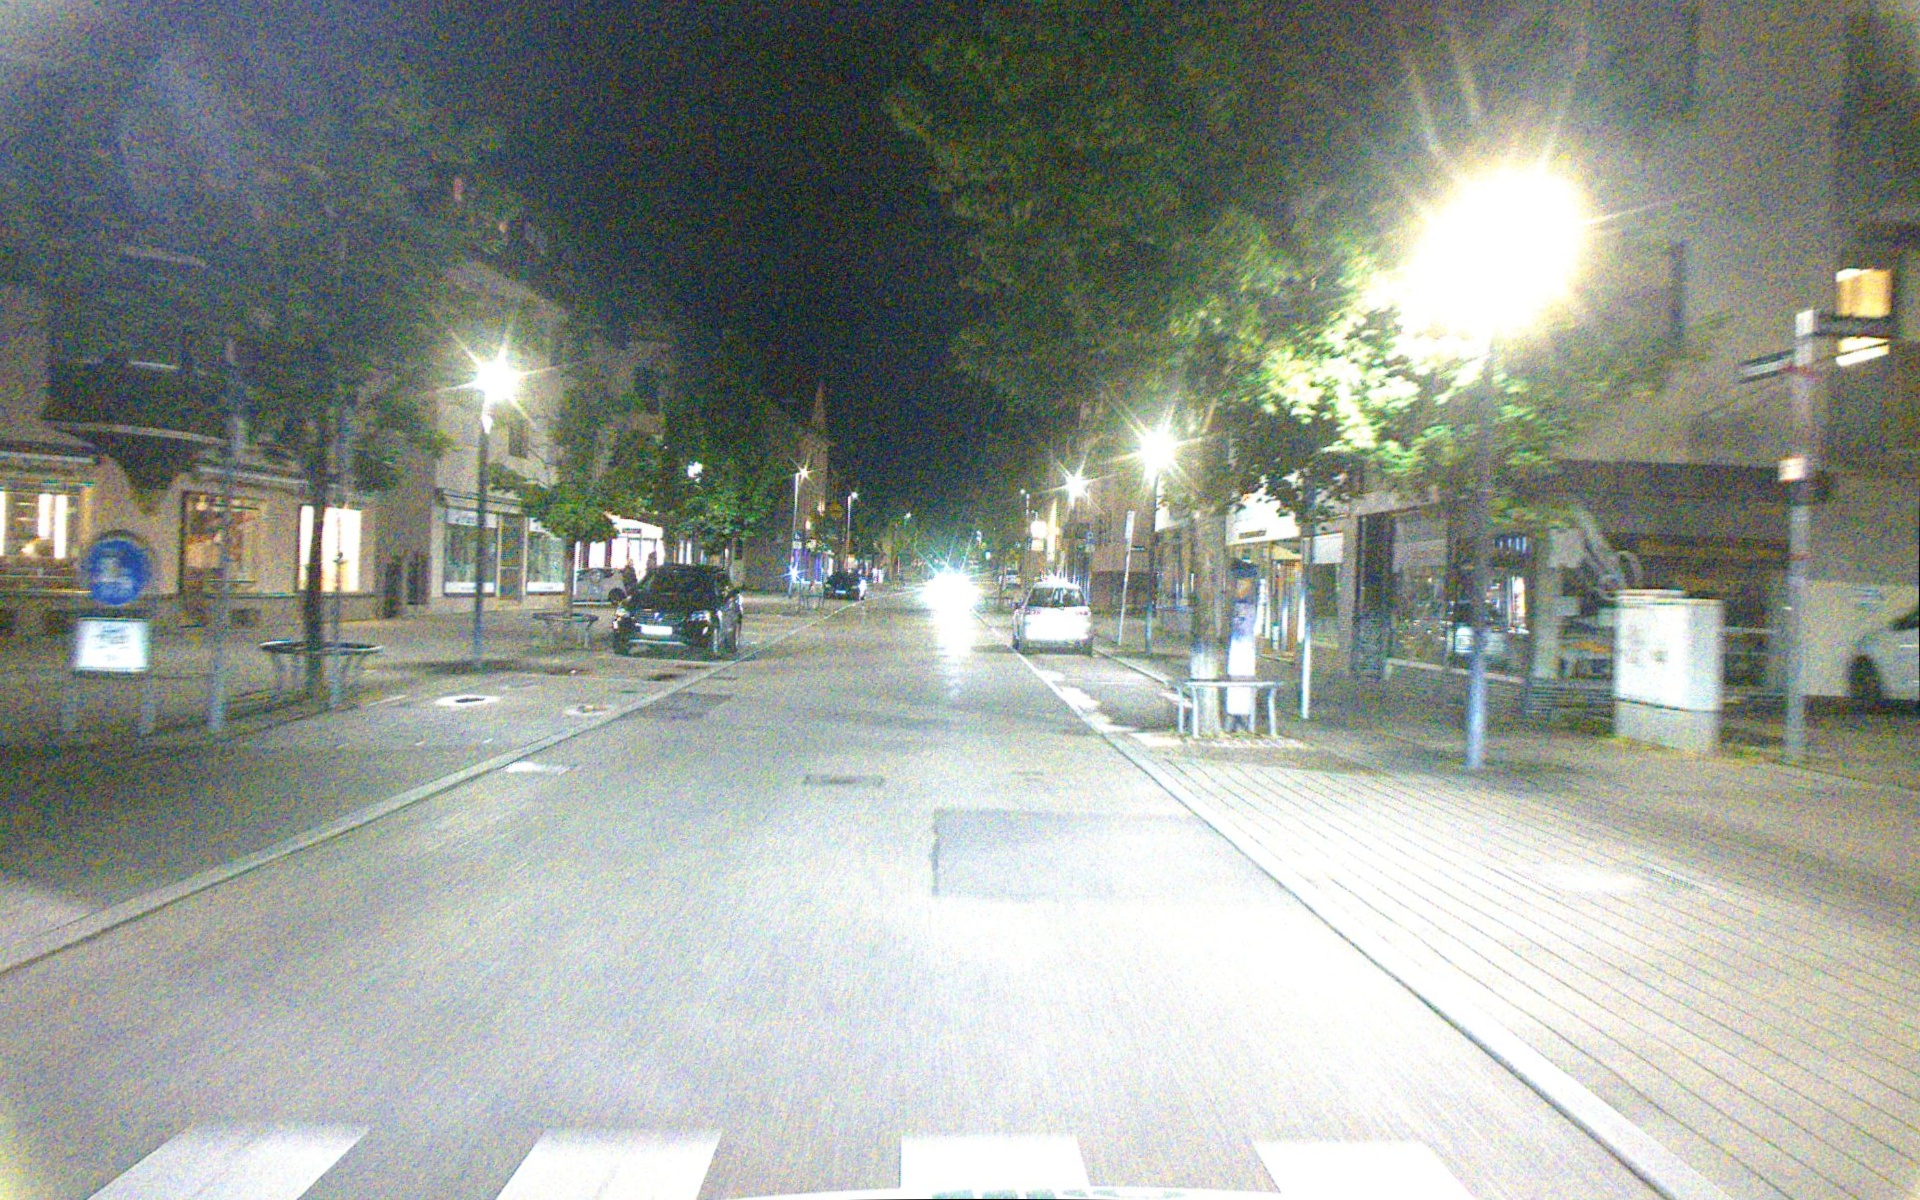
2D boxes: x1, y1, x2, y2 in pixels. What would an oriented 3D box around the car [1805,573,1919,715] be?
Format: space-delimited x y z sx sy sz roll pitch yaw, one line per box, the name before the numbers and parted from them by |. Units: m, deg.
car | 10.871 0.421 17.348 1.768 1.486 4.055 -3 -1 -2
